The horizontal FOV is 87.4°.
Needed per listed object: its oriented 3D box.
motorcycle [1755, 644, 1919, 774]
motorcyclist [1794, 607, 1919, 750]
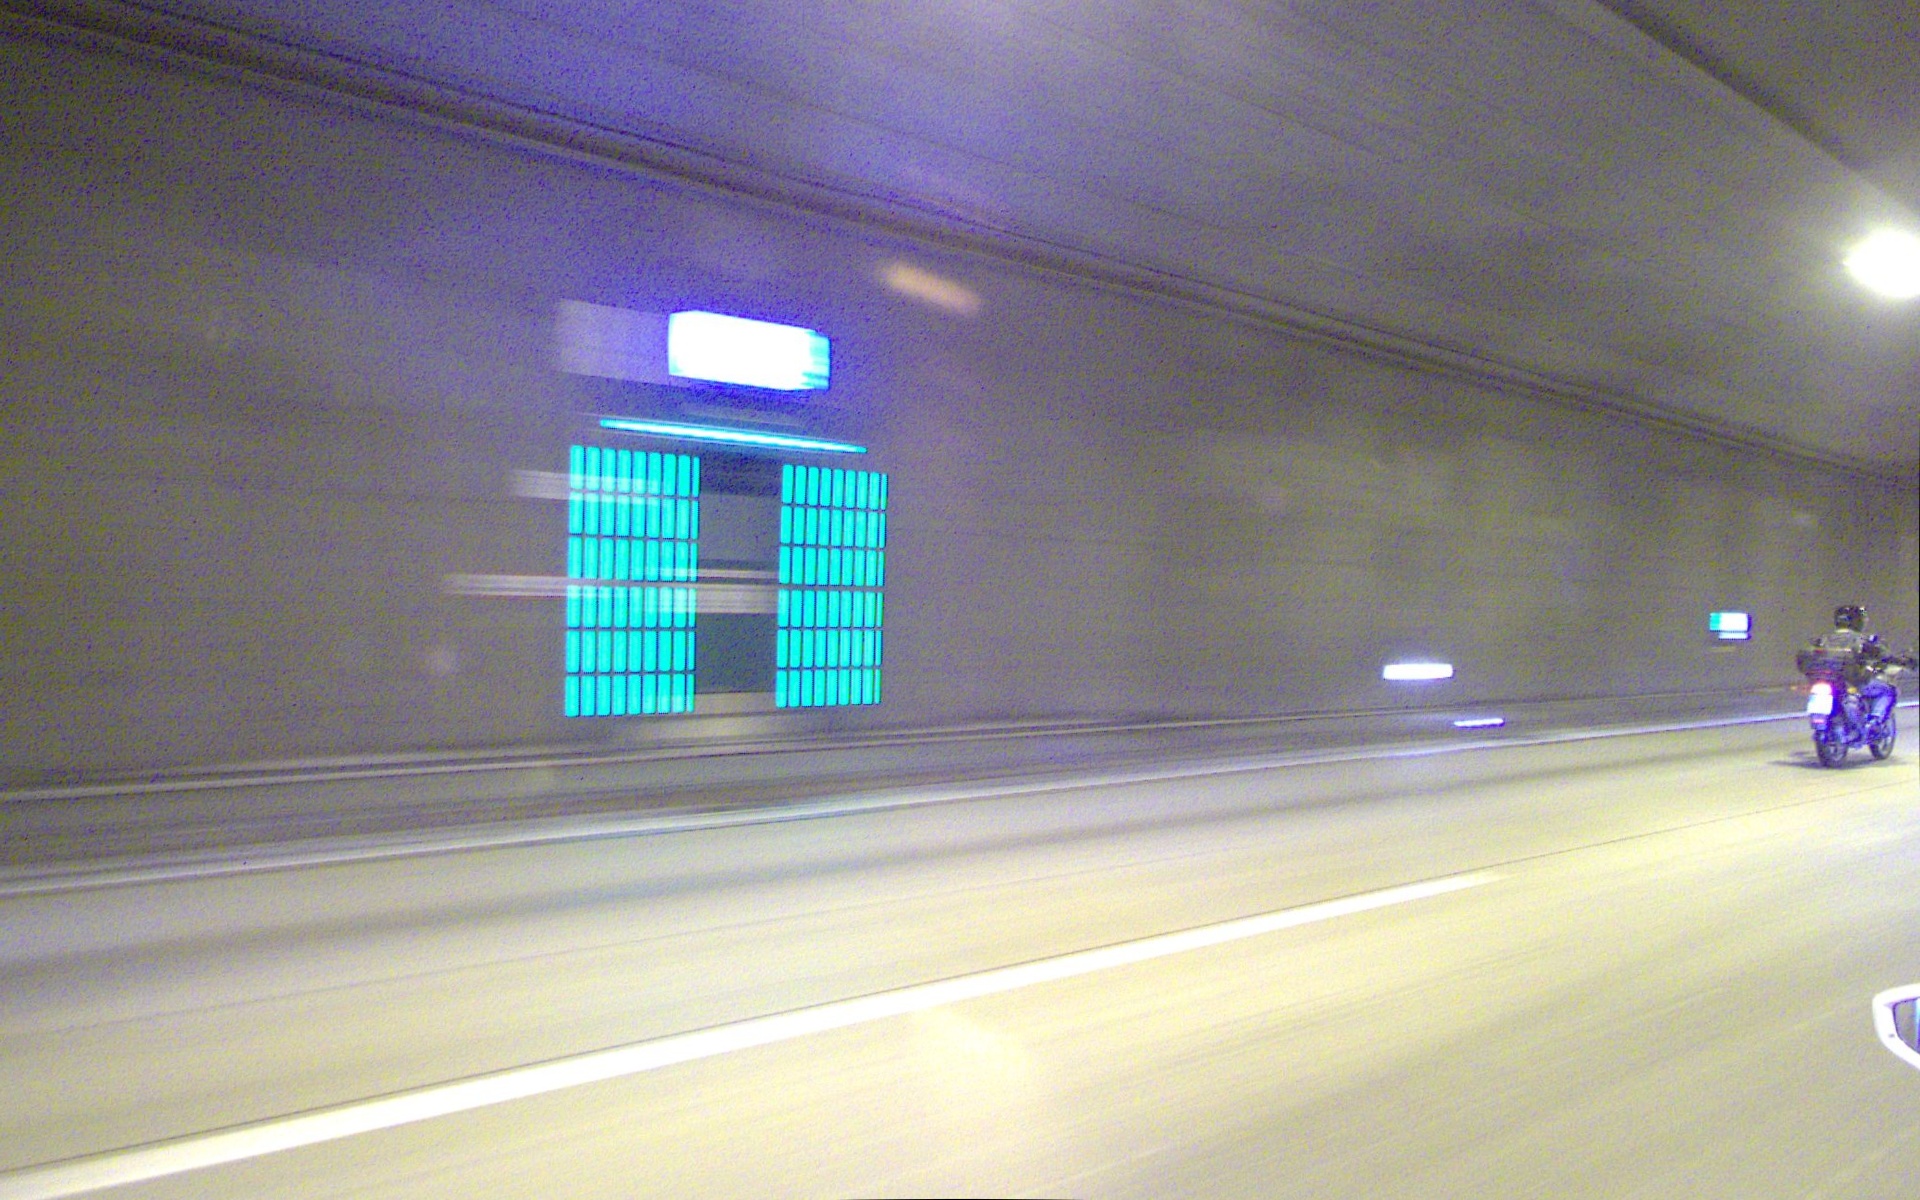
[{"bbox_3d":[9.887,1.134,11.094,2.574,1.262,0.841,1,0,-30],"label":"motorcycle"},{"bbox_3d":[9.914,0.834,11.102,0.812,1.497,0.835,1,0,-30],"label":"motorcyclist"}]
